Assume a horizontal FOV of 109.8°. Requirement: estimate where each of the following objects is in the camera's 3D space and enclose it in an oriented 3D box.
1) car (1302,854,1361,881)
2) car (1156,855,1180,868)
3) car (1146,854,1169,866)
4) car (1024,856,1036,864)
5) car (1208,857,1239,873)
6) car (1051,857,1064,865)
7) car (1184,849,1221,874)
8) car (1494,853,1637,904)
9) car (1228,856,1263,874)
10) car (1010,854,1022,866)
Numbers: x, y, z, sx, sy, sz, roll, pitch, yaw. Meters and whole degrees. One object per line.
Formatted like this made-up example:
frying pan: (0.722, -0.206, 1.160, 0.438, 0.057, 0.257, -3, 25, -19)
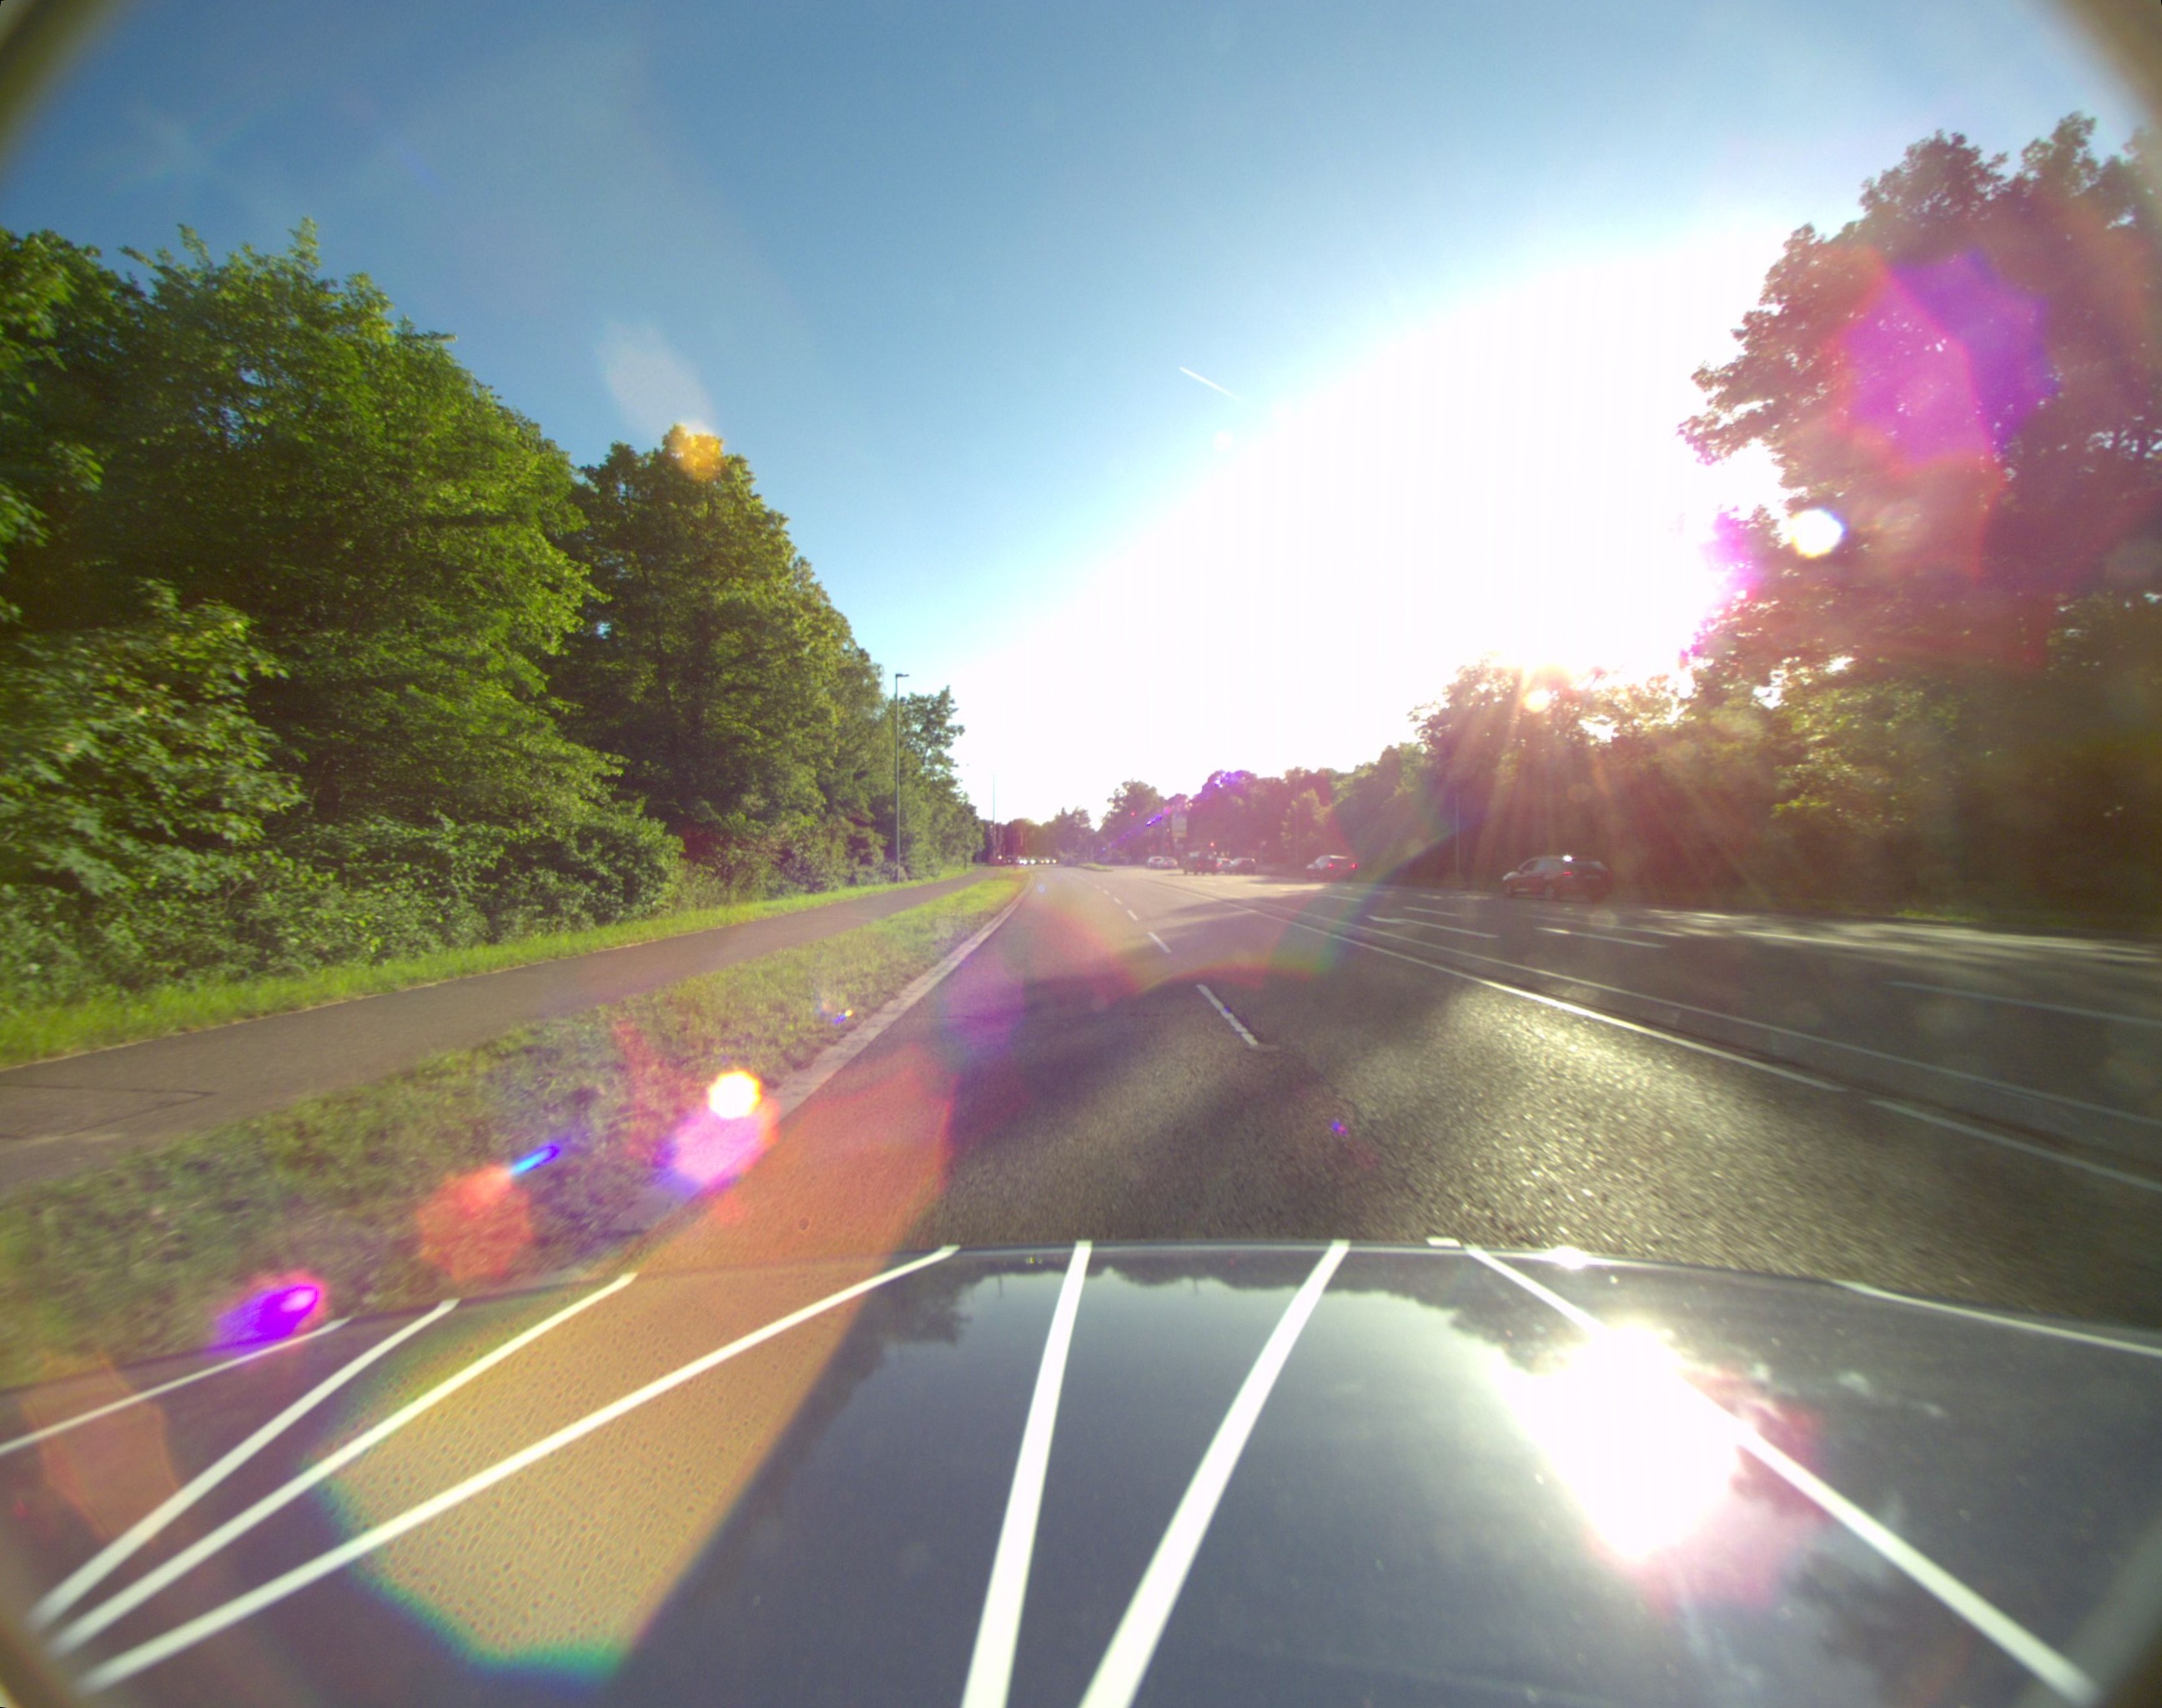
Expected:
car: (16.112, 0.816, 49.153, 1.999, 1.627, 4.842, 0, 0, -3)
car: (10.465, 0.897, 91.720, 1.999, 1.442, 4.645, 1, 0, -5)
car: (9.925, 0.800, 99.076, 2.000, 1.442, 4.838, 1, 0, -8)
car: (-10.100, 1.113, 150.503, 2.000, 1.510, 3.996, -1, 1, -8)
car: (14.700, 1.116, 78.705, 1.999, 1.555, 4.645, 3, 0, -5)
car: (-4.406, 1.312, 142.515, 2.000, 1.510, 3.996, -1, 1, -8)
car: (10.218, 0.606, 64.429, 1.999, 1.950, 4.645, 1, 0, -5)
car: (16.127, 0.759, 25.610, 1.999, 1.555, 4.338, 0, 0, -1)
car: (15.070, 0.973, 69.981, 1.999, 1.555, 4.646, 2, 0, -3)
car: (-12.733, 1.172, 149.057, 2.000, 2.057, 3.996, -1, 1, -8)
